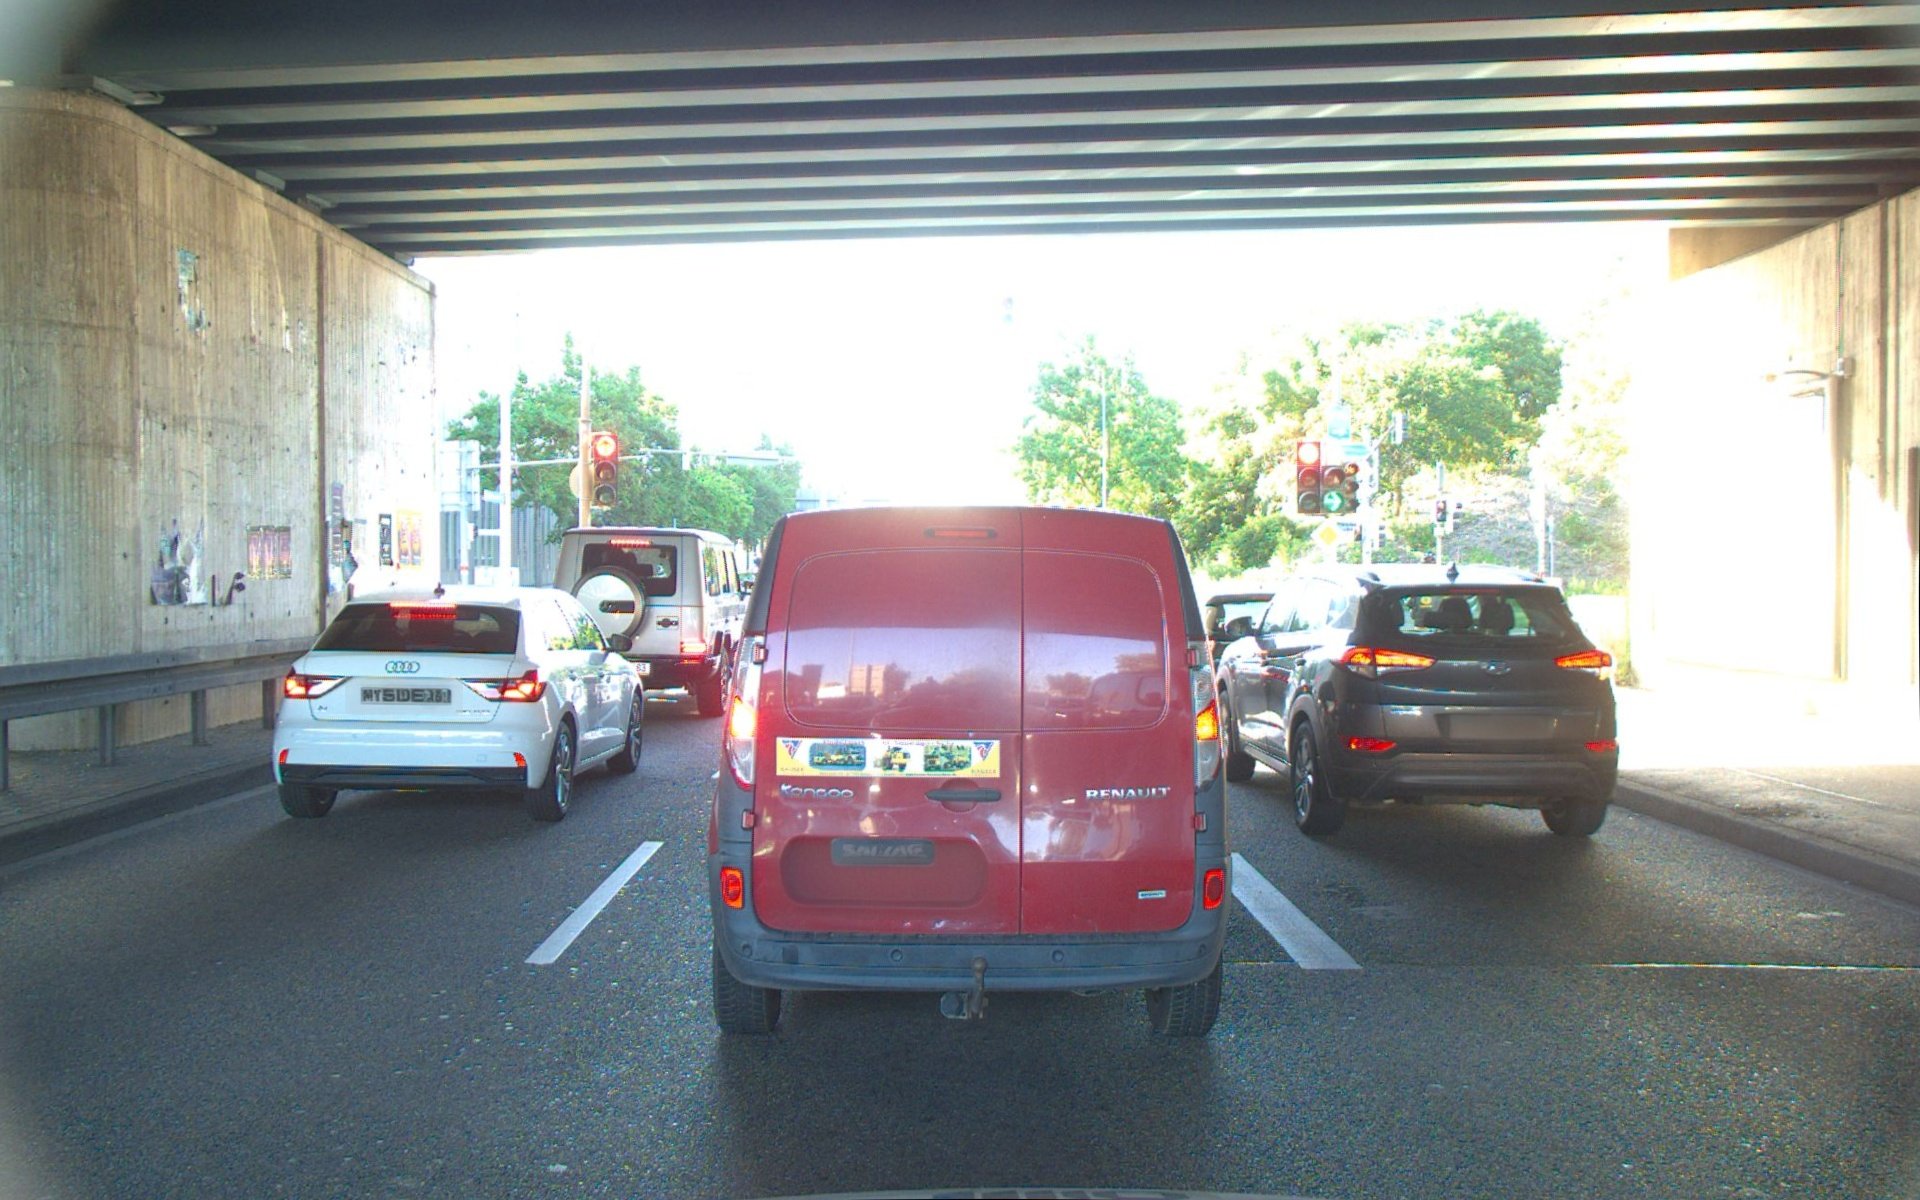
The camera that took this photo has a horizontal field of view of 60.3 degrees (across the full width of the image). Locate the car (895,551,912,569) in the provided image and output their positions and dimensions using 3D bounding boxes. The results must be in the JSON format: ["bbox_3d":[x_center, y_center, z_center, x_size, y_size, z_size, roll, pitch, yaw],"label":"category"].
[{"bbox_3d":[-6.940,-4.930,204.543,1.953,2.049,3.999,1,0,-1],"label":"car"}]

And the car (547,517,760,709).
[{"bbox_3d":[-3.353,0.121,18.786,1.777,1.937,3.812,1,0,-2],"label":"car"}]

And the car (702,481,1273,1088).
[{"bbox_3d":[0.058,0.543,6.953,1.684,1.795,3.999,1,0,-1],"label":"car"}]

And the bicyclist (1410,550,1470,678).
[{"bbox_3d":[6.339,0.184,21.867,0.663,1.657,0.644,1,0,10],"label":"bicyclist"}]

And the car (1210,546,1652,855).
[{"bbox_3d":[2.943,0.544,11.257,1.742,1.684,3.989,2,1,-2],"label":"car"}]

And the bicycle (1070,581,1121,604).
[{"bbox_3d":[5.257,-0.291,64.036,1.913,0.889,0.699,0,0,-1],"label":"bicycle"}]

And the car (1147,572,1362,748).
[{"bbox_3d":[2.936,0.521,17.204,1.618,1.579,3.865,1,1,2],"label":"car"}]

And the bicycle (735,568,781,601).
[{"bbox_3d":[-7.816,-0.587,64.044,1.694,1.254,0.557,0,0,-2],"label":"bicycle"}]

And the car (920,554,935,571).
[{"bbox_3d":[-4.289,-4.989,220.655,1.953,2.049,3.999,1,0,-1],"label":"car"}]

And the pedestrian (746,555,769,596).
[{"bbox_3d":[-7.839,-0.944,64.036,0.819,1.581,0.557,0,0,-1],"label":"pedestrian"}]

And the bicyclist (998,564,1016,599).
[{"bbox_3d":[1.844,-0.736,64.810,0.640,1.352,0.602,1,0,-4],"label":"bicyclist"}]

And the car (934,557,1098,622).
[{"bbox_3d":[1.480,-0.274,44.898,4.261,1.635,1.998,1,0,-4],"label":"car"}]

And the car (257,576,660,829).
[{"bbox_3d":[-3.234,0.582,11.447,1.658,1.435,3.812,1,0,-1],"label":"car"}]

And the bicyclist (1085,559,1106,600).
[{"bbox_3d":[5.256,-0.785,64.064,0.739,1.569,0.696,0,0,0],"label":"bicyclist"}]
